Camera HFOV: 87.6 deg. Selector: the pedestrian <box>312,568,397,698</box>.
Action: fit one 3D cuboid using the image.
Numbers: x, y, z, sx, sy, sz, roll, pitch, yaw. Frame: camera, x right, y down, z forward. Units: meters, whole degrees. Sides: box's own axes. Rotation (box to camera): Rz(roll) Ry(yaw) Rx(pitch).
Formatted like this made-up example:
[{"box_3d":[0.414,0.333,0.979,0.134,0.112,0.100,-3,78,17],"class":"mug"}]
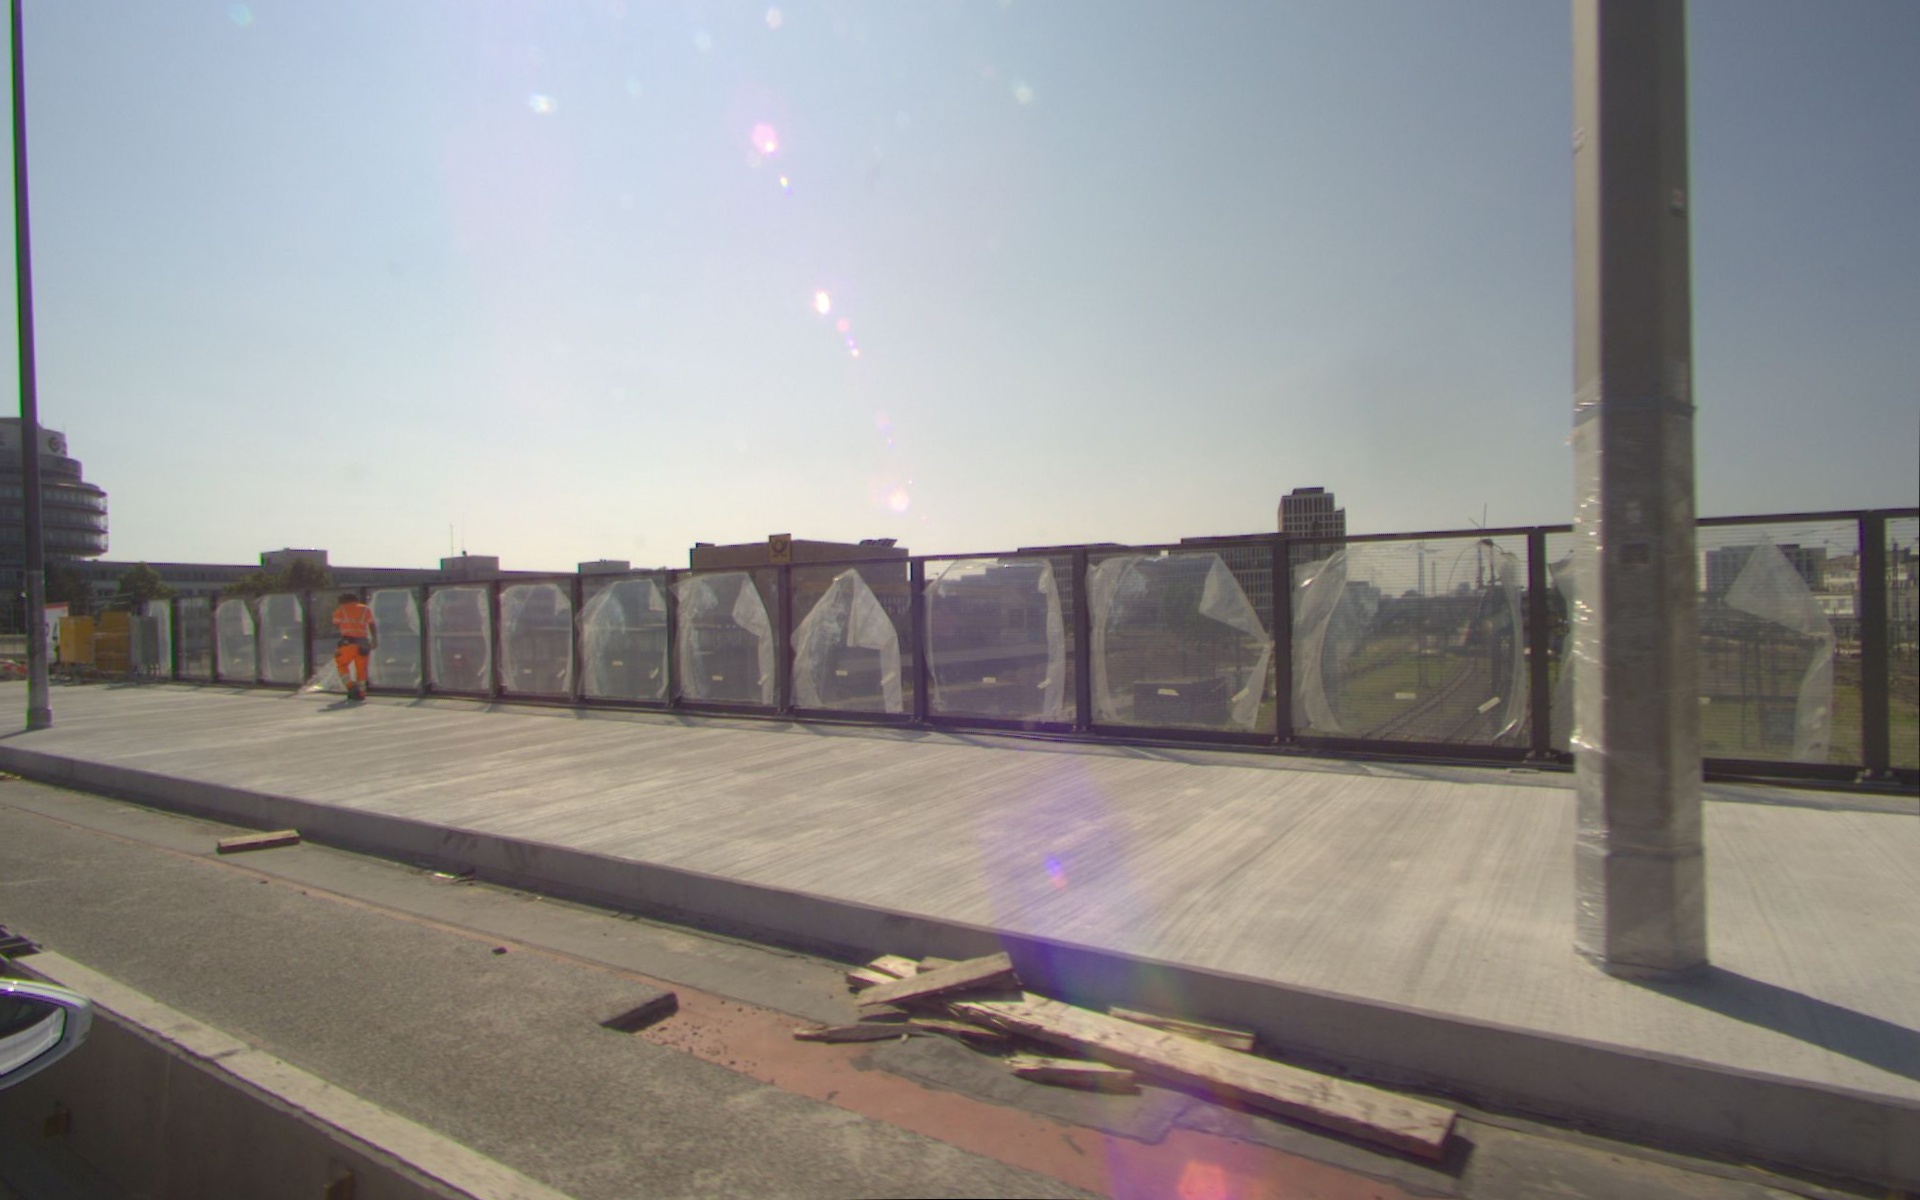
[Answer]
[{"box_3d":[-9.593,0.513,15.875,1.002,1.991,0.729,-1,1,33],"class":"pedestrian"}]
